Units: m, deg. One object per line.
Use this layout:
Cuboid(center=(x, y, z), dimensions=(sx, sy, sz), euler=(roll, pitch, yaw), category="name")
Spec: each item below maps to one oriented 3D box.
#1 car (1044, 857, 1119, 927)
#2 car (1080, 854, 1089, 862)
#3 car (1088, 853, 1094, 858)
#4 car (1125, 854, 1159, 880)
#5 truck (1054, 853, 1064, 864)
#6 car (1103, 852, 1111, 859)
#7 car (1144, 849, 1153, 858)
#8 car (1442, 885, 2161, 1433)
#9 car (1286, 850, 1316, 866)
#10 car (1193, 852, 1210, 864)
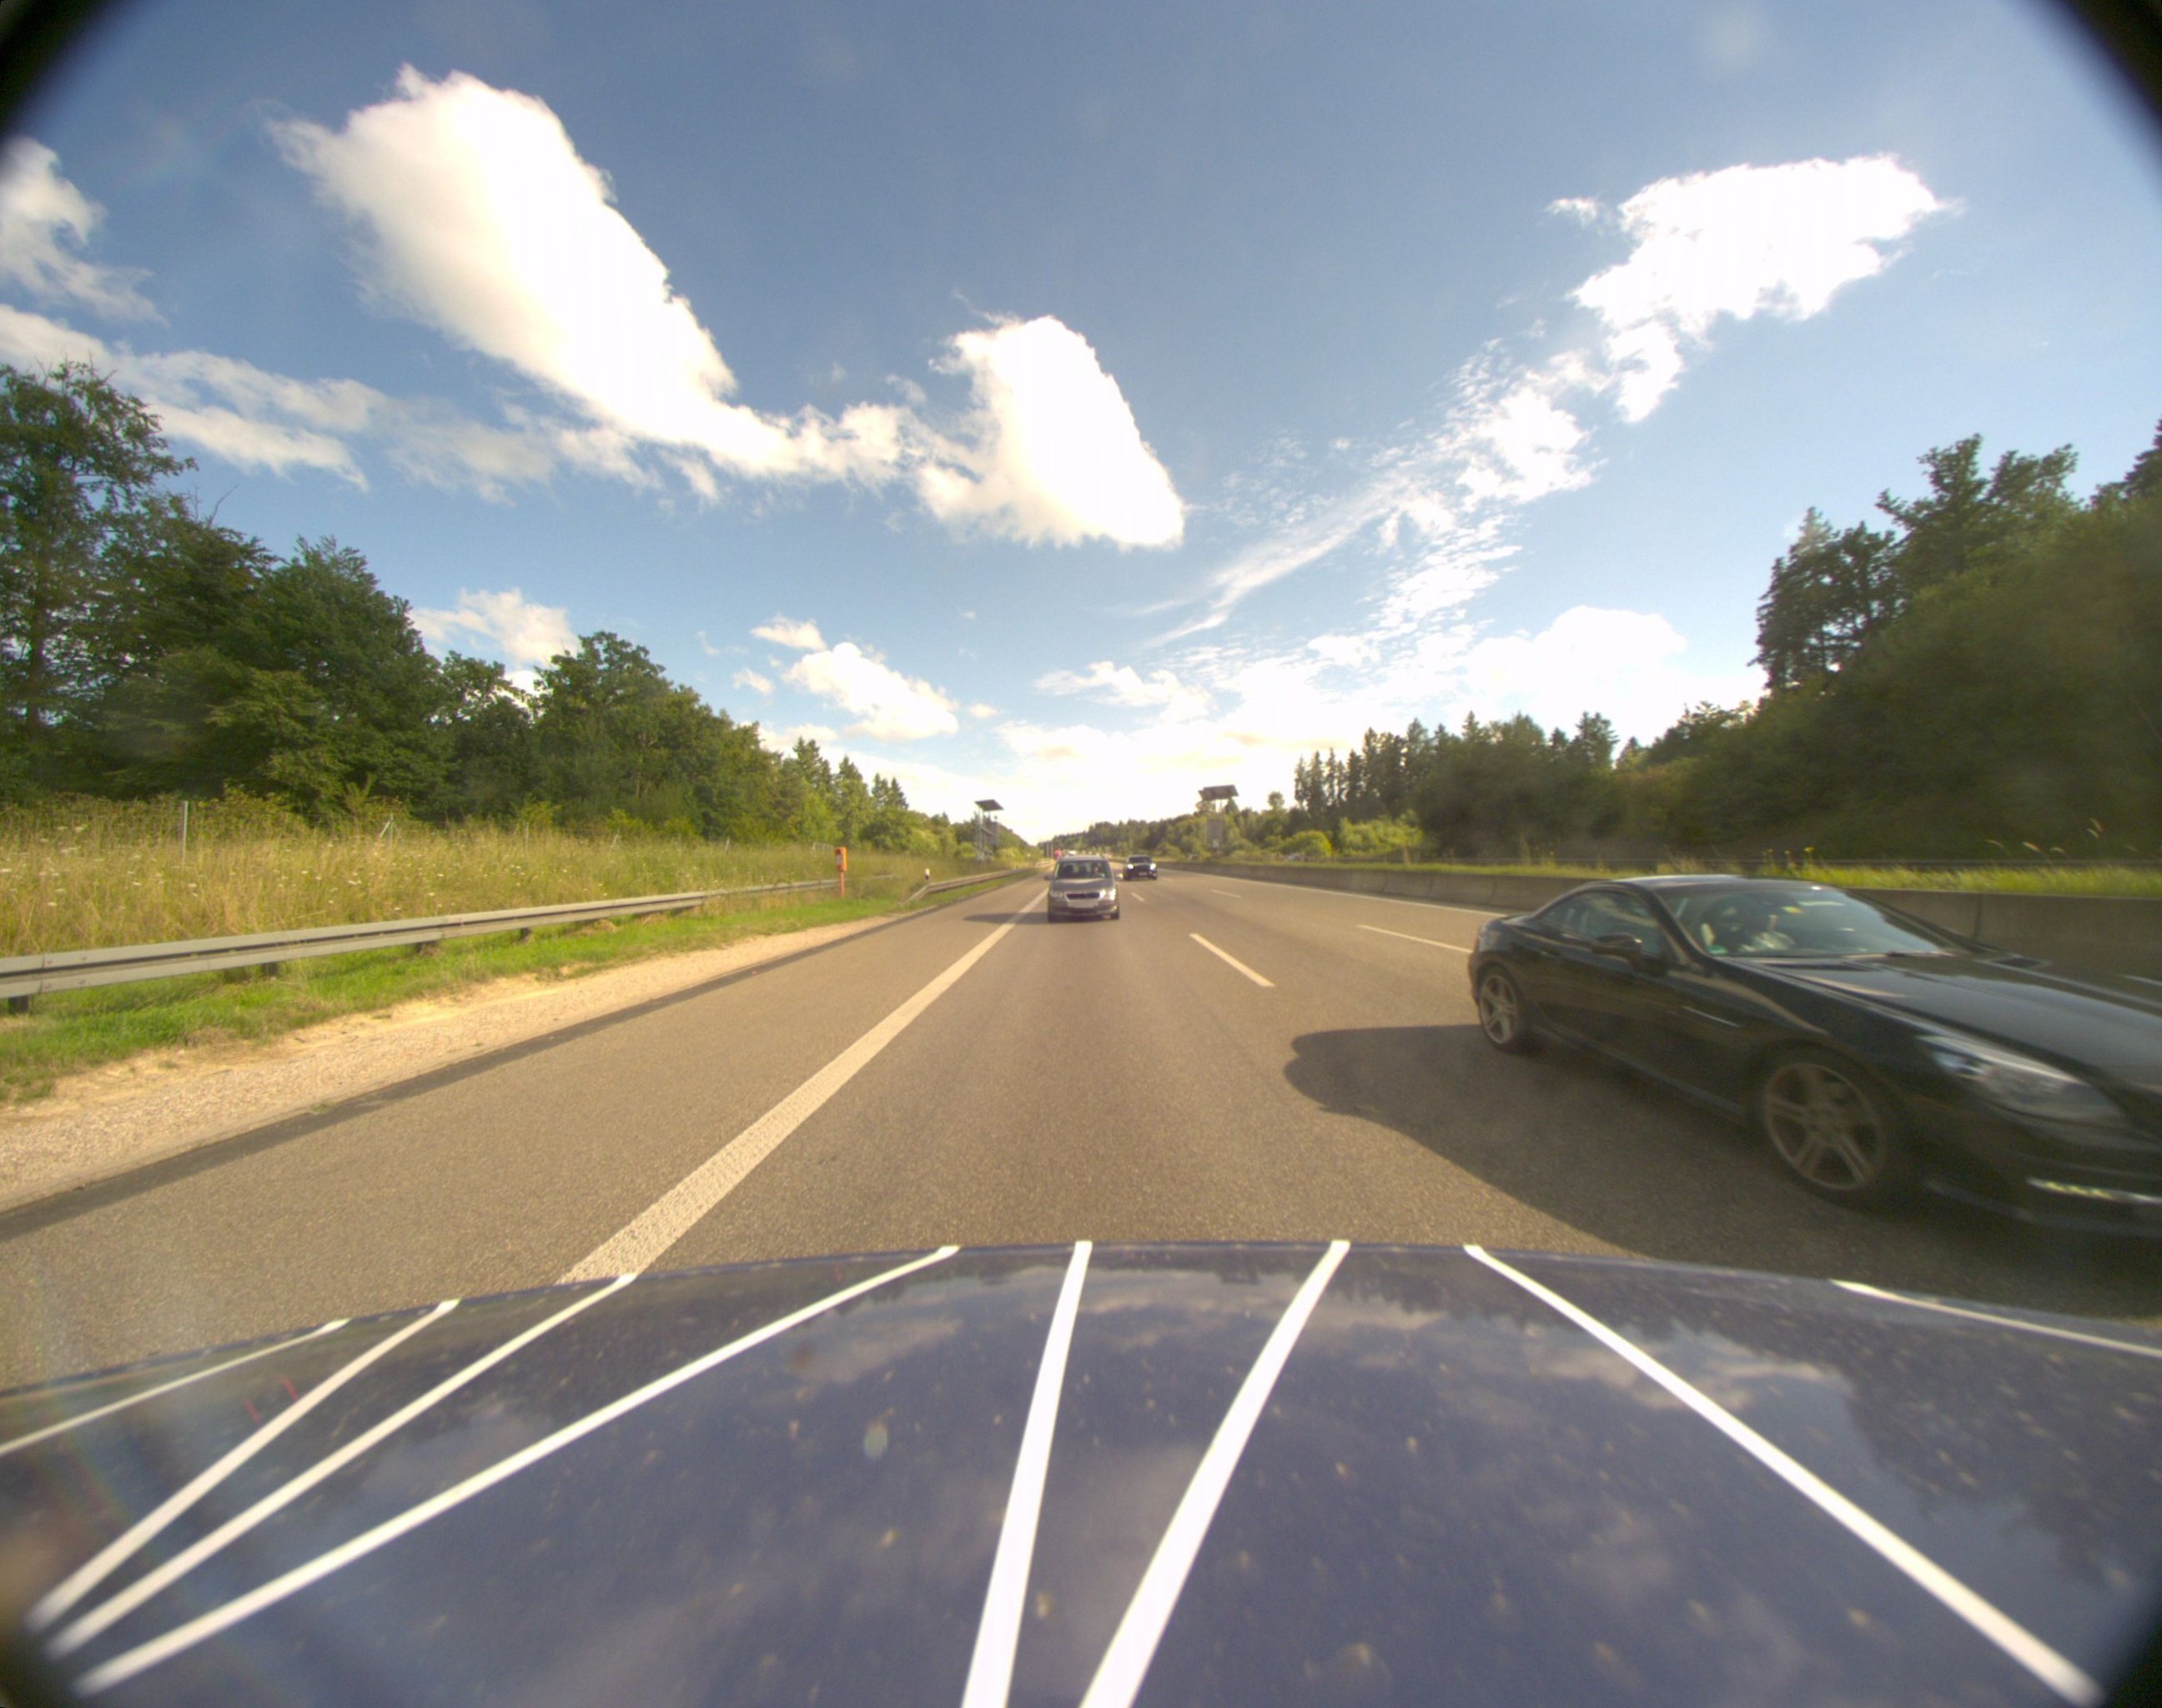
Cuboid(center=(0.047, 0.907, 20.055), dimensions=(1.742, 1.608, 4.083), euler=(-2, 0, 1), category="car")
Cuboid(center=(0.866, 0.896, 183.115), dimensions=(1.938, 1.772, 4.236), euler=(-2, 0, 1), category="car")
Cuboid(center=(3.339, 0.484, 246.814), dimensions=(1.943, 1.772, 4.158), euler=(-2, 0, 1), category="car")
Cuboid(center=(4.005, 0.837, 50.556), dimensions=(1.961, 1.608, 4.387), euler=(-2, 0, 1), category="car")
Cuboid(center=(-7.490, 1.505, 262.123), dimensions=(2.880, 3.871, 8.958), euler=(-2, 0, 0), category="truck")
Cuboid(center=(7.638, 0.450, 223.879), dimensions=(1.998, 1.772, 4.000), euler=(-2, 0, 1), category="car")
Cuboid(center=(16.576, -0.128, 186.823), dimensions=(1.999, 2.002, 4.071), euler=(-2, 0, 0), category="car")
Cuboid(center=(3.842, 0.925, 4.170), dimensions=(1.749, 1.276, 4.199), euler=(-2, 0, 1), category="car")
Cuboid(center=(23.612, 0.371, 81.681), dimensions=(1.884, 1.618, 4.570), euler=(-2, 0, 0), category="car")
Cuboid(center=(20.120, 0.678, 127.288), dimensions=(1.999, 1.870, 4.437), euler=(-2, 0, 0), category="car")
